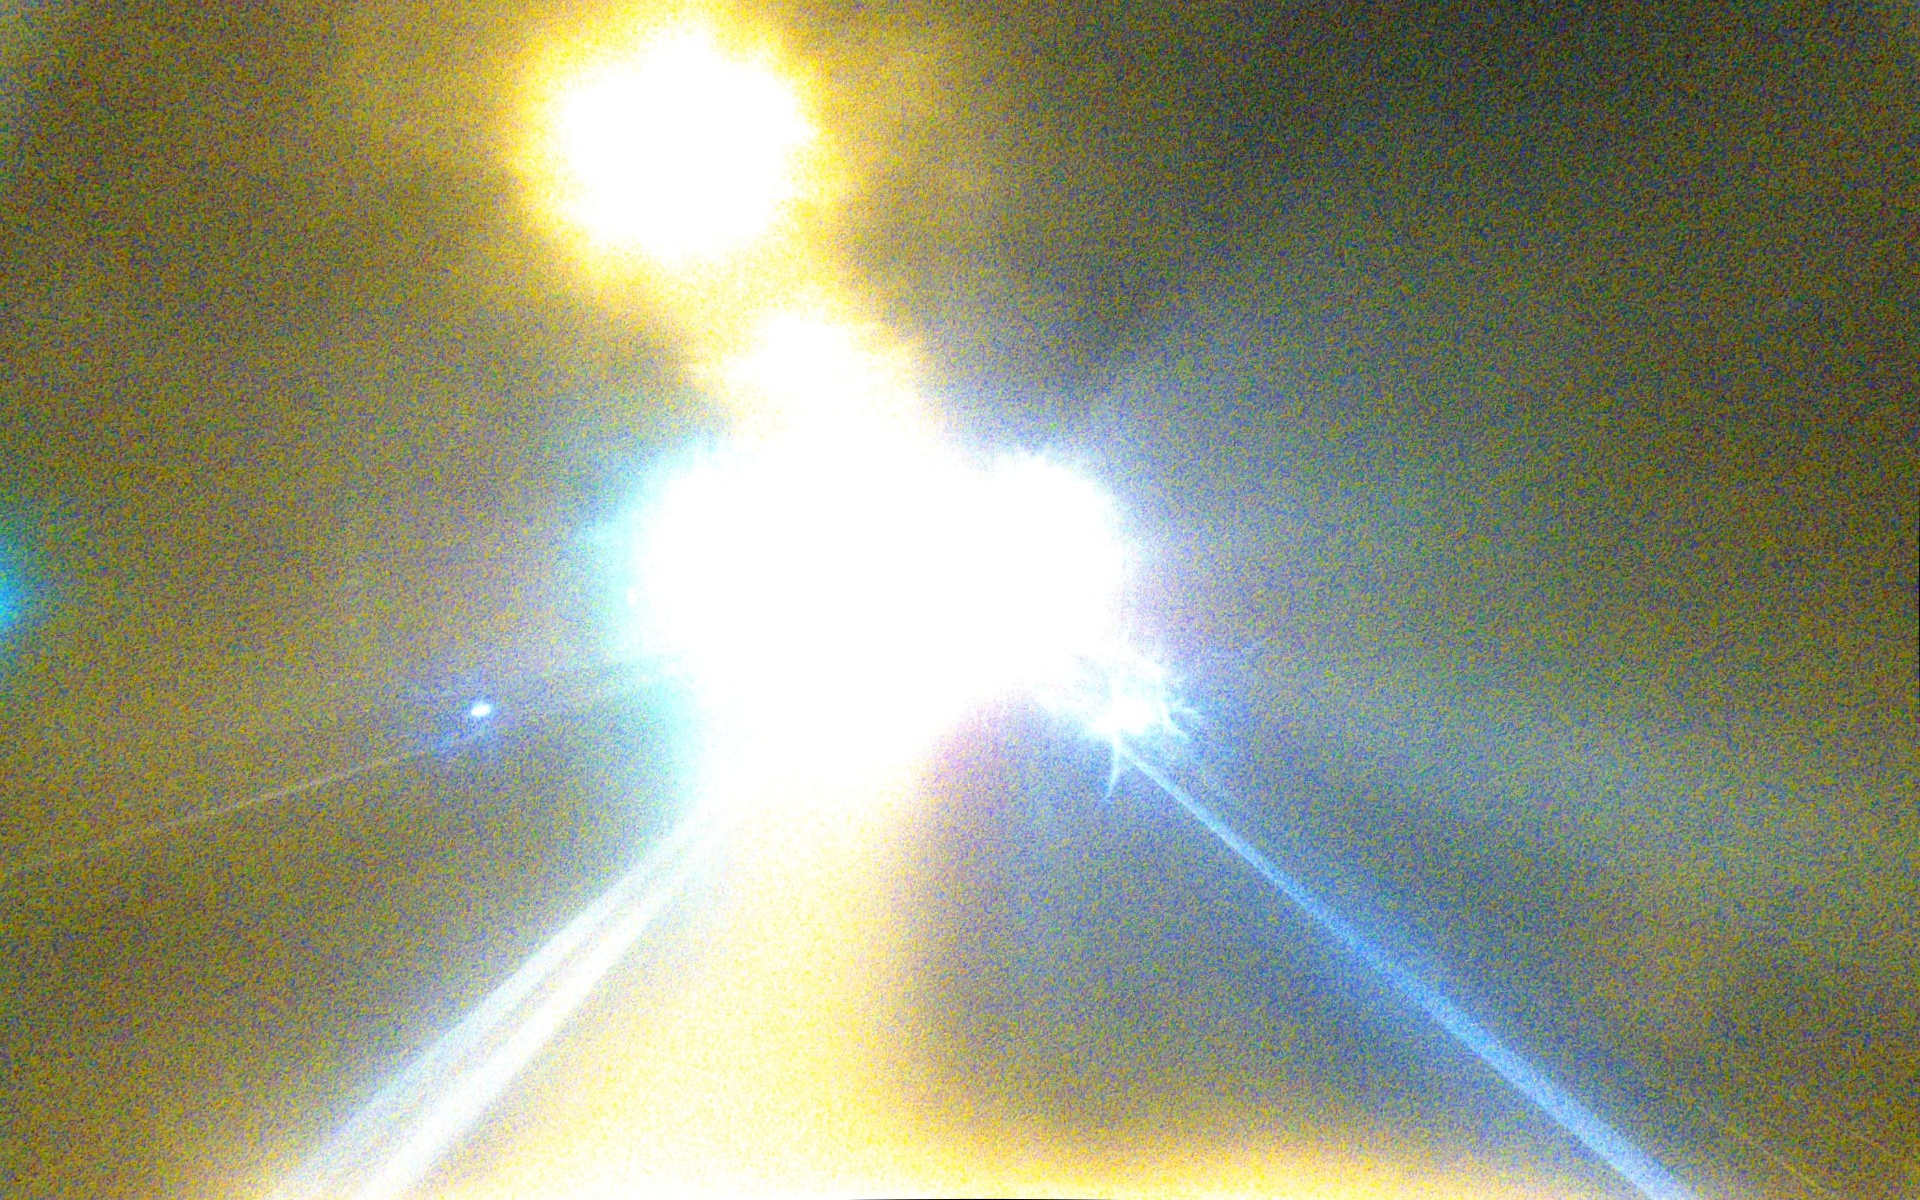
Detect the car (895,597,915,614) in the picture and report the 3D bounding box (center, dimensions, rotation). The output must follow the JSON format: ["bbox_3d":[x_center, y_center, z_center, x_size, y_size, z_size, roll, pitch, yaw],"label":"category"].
[{"bbox_3d":[-5.014,0.457,150.965,1.676,1.488,3.574,-1,0,-1],"label":"car"}]

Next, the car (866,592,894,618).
[{"bbox_3d":[-4.936,0.291,102.337,1.657,1.531,3.743,-1,0,-2],"label":"car"}]

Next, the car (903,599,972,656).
[{"bbox_3d":[-0.733,0.834,51.527,2.047,1.691,3.999,-1,0,-2],"label":"car"}]
